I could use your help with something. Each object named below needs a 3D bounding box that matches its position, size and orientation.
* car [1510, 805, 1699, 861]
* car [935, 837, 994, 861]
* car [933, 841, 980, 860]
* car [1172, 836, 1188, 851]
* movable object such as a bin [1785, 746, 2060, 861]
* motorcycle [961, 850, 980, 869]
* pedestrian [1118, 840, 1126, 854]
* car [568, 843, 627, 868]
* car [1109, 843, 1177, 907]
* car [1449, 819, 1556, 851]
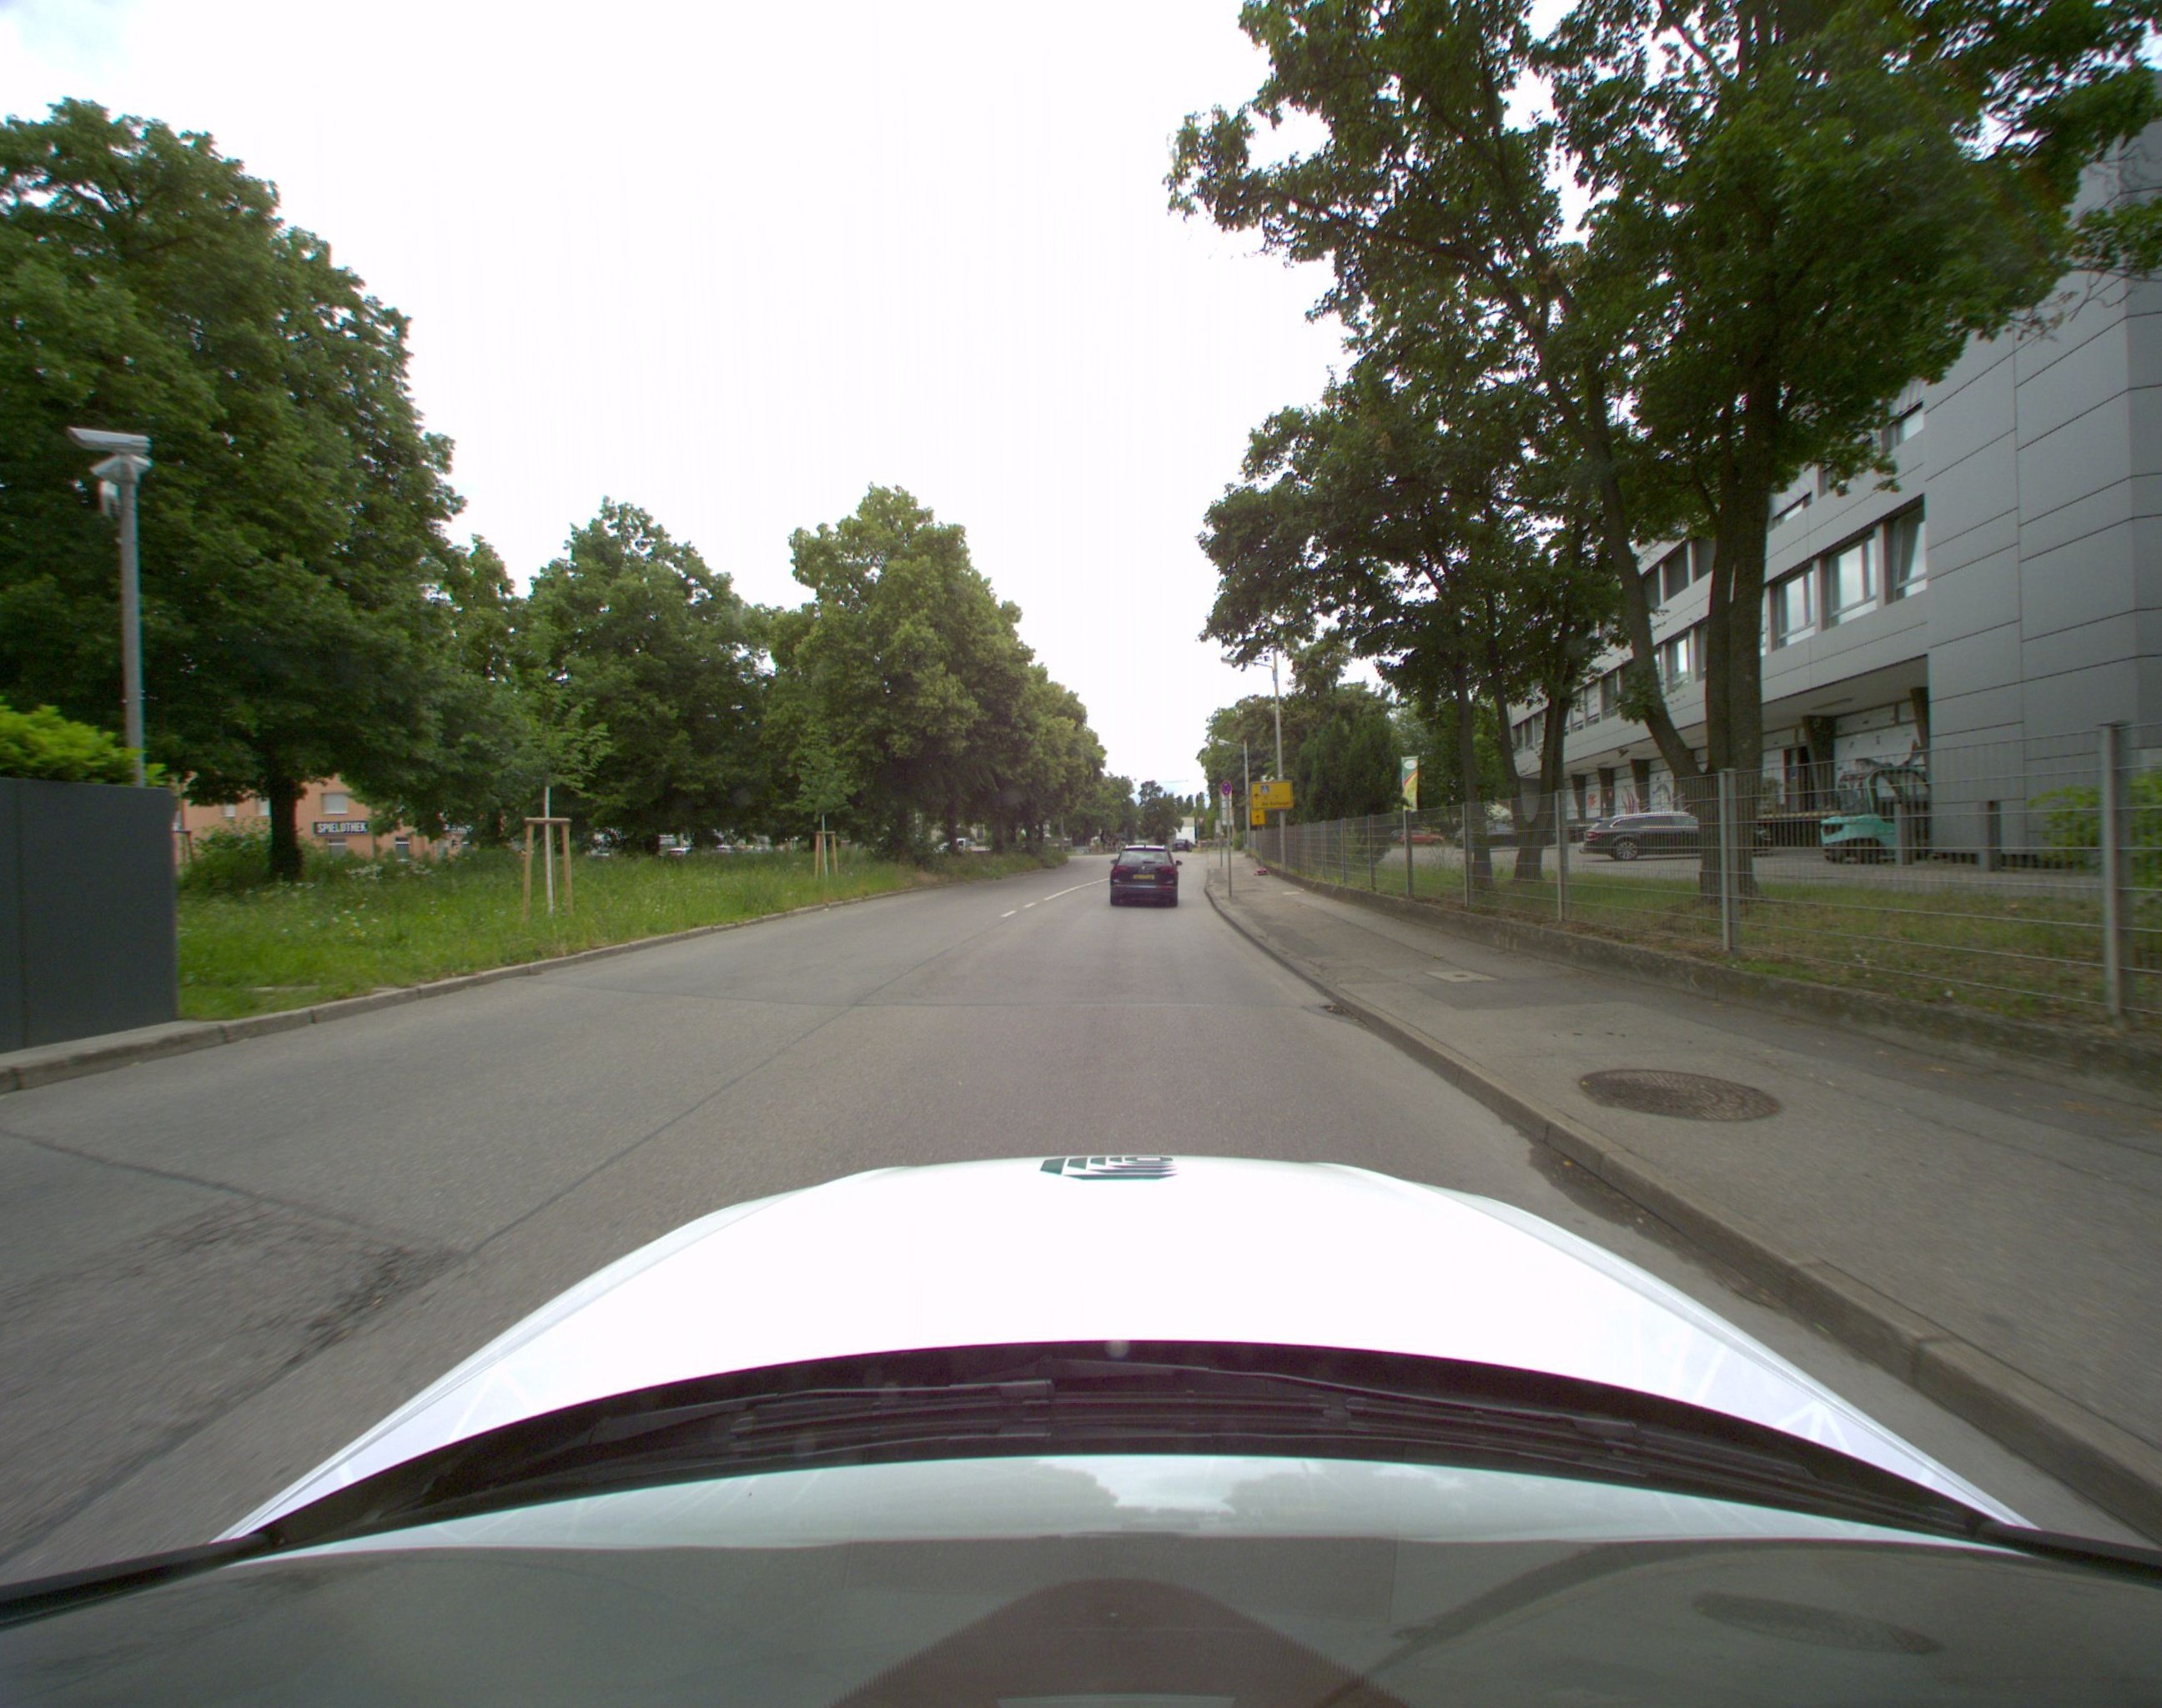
[{"bbox_3d":[16.502,-0.634,25.853,2.011,1.474,4.637,-3,0,-41],"label":"car"},{"bbox_3d":[-12.910,-0.585,90.806,6.047,2.387,2.396,-2,1,2],"label":"car"},{"bbox_3d":[-14.499,-0.429,94.710,4.943,1.942,2.056,-2,1,13],"label":"car"},{"bbox_3d":[10.638,-1.123,87.765,1.650,1.574,3.835,-3,0,6],"label":"car"},{"bbox_3d":[19.224,-1.099,18.831,3.960,2.305,1.959,-3,0,12],"label":"movable object such as a bin"},{"bbox_3d":[-7.228,0.331,53.450,0.562,1.168,2.043,-2,1,12],"label":"motorcycle"},{"bbox_3d":[5.245,-0.948,104.425,0.731,1.741,0.735,-3,1,-41],"label":"pedestrian"},{"bbox_3d":[-28.428,0.048,48.002,1.551,1.349,2.883,-2,1,5],"label":"car"},{"bbox_3d":[1.732,0.534,22.719,1.731,1.618,3.645,1,0,4],"label":"car"},{"bbox_3d":[22.719,-1.009,43.970,4.797,1.534,2.036,-1,1,36],"label":"car"}]
